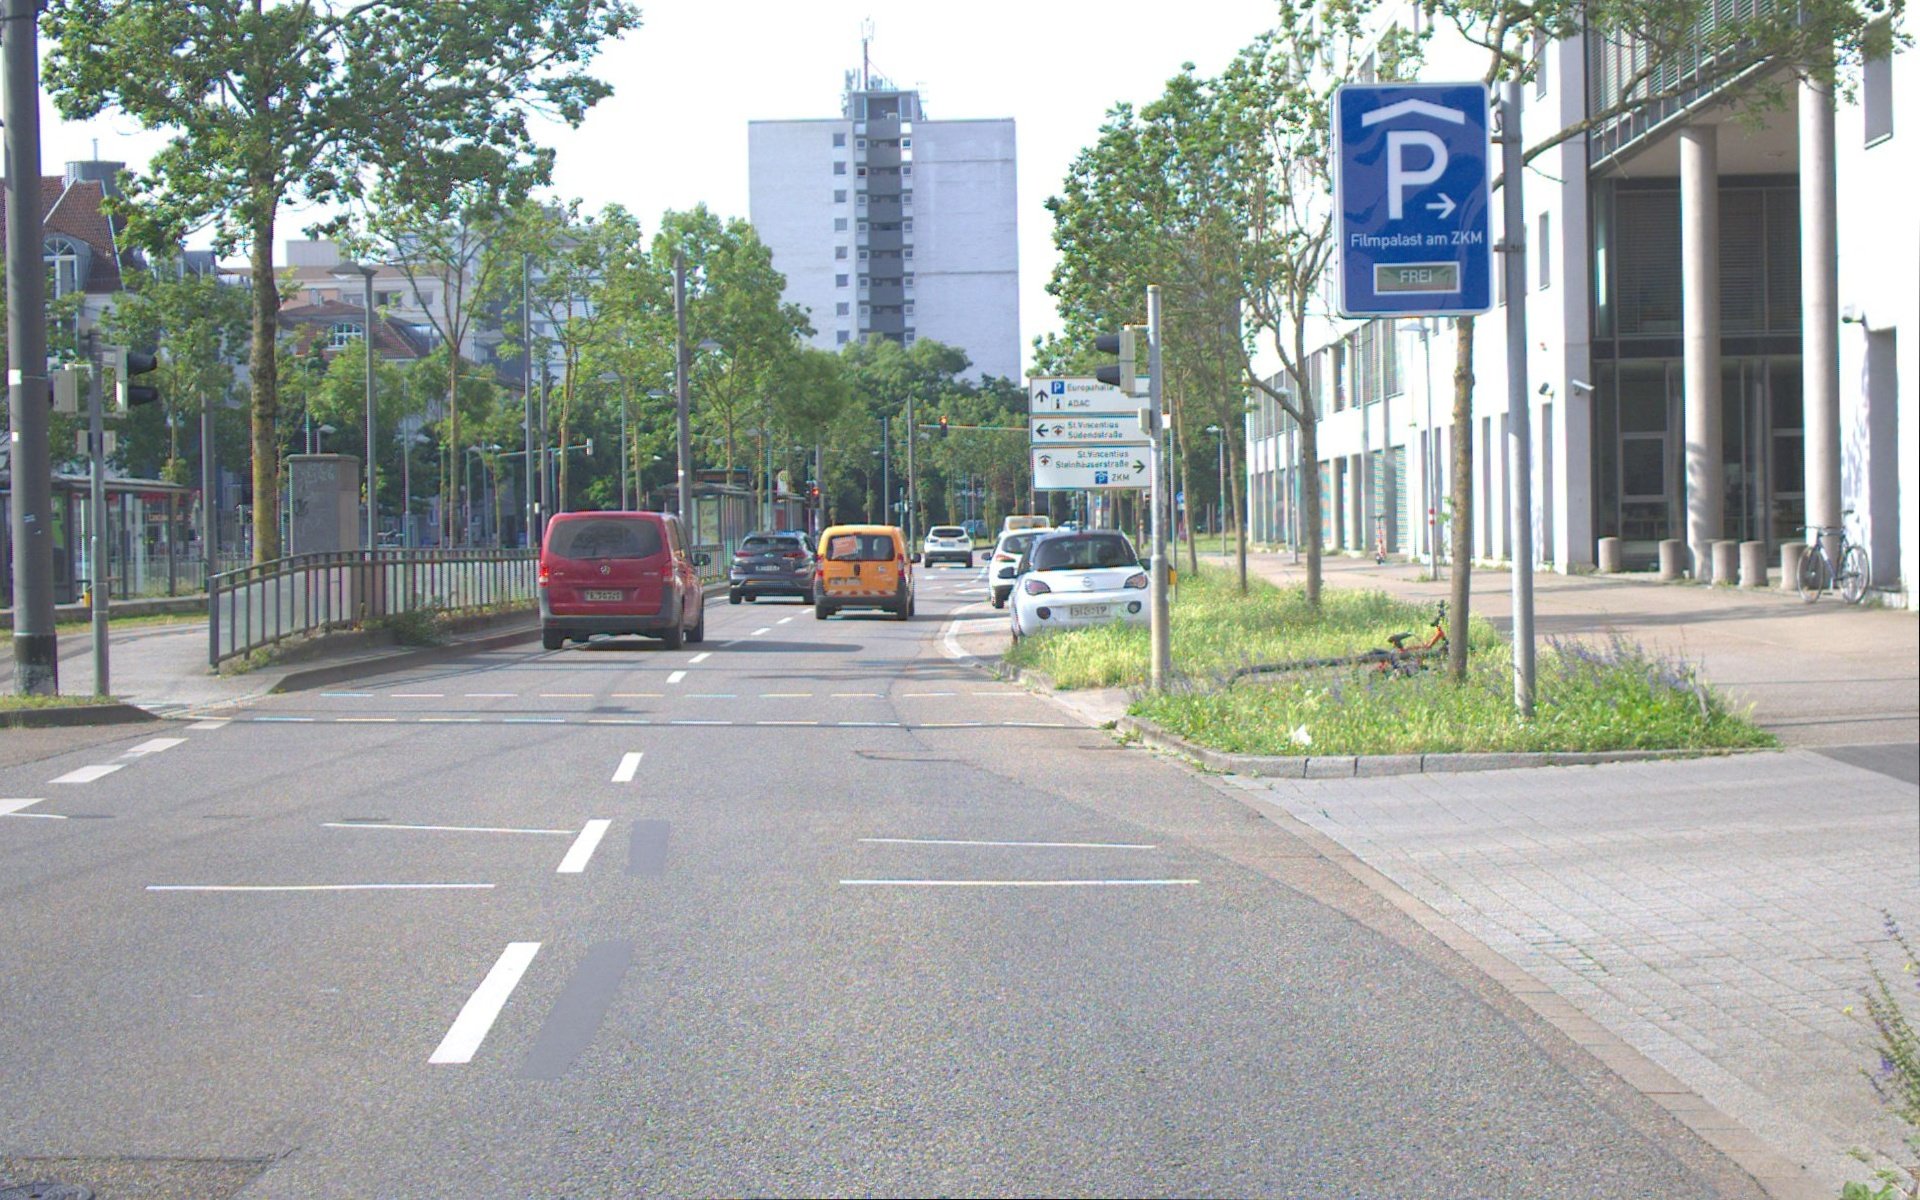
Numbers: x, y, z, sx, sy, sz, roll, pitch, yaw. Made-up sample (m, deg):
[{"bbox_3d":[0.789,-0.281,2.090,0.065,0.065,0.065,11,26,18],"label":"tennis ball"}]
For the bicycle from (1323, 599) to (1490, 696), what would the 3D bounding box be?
[{"bbox_3d":[3.631,0.384,27.959,1.271,0.630,0.521,-7,0,8],"label":"bicycle"}]

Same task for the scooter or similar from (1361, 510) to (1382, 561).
[{"bbox_3d":[10.087,-1.591,84.278,0.462,1.209,1.254,-2,1,7],"label":"scooter or similar"}]

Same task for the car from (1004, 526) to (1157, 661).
[{"bbox_3d":[1.438,-0.118,42.164,1.720,1.514,3.781,-1,2,0],"label":"car"}]

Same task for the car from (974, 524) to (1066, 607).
[{"bbox_3d":[1.194,-0.711,68.120,1.689,1.521,3.851,-3,1,1],"label":"car"}]

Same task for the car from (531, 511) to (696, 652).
[{"bbox_3d":[-4.736,-0.284,47.467,1.874,1.847,4.000,-1,1,0],"label":"car"}]

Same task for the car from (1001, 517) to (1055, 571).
[{"bbox_3d":[2.614,-2.161,132.048,1.993,2.007,4.000,-1,1,1],"label":"car"}]

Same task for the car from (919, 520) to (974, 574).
[{"bbox_3d":[-0.512,-2.027,130.914,1.993,2.007,4.000,-1,1,0],"label":"car"}]

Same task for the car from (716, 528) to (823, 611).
[{"bbox_3d":[-4.079,-0.682,74.131,1.993,1.700,4.000,-1,1,1],"label":"car"}]

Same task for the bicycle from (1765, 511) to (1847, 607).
[{"bbox_3d":[9.926,-0.489,40.395,0.493,1.082,1.550,-3,1,-2],"label":"bicycle"}]

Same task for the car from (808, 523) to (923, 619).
[{"bbox_3d":[-1.708,-0.556,63.056,1.876,1.690,3.973,-1,1,2],"label":"car"}]
